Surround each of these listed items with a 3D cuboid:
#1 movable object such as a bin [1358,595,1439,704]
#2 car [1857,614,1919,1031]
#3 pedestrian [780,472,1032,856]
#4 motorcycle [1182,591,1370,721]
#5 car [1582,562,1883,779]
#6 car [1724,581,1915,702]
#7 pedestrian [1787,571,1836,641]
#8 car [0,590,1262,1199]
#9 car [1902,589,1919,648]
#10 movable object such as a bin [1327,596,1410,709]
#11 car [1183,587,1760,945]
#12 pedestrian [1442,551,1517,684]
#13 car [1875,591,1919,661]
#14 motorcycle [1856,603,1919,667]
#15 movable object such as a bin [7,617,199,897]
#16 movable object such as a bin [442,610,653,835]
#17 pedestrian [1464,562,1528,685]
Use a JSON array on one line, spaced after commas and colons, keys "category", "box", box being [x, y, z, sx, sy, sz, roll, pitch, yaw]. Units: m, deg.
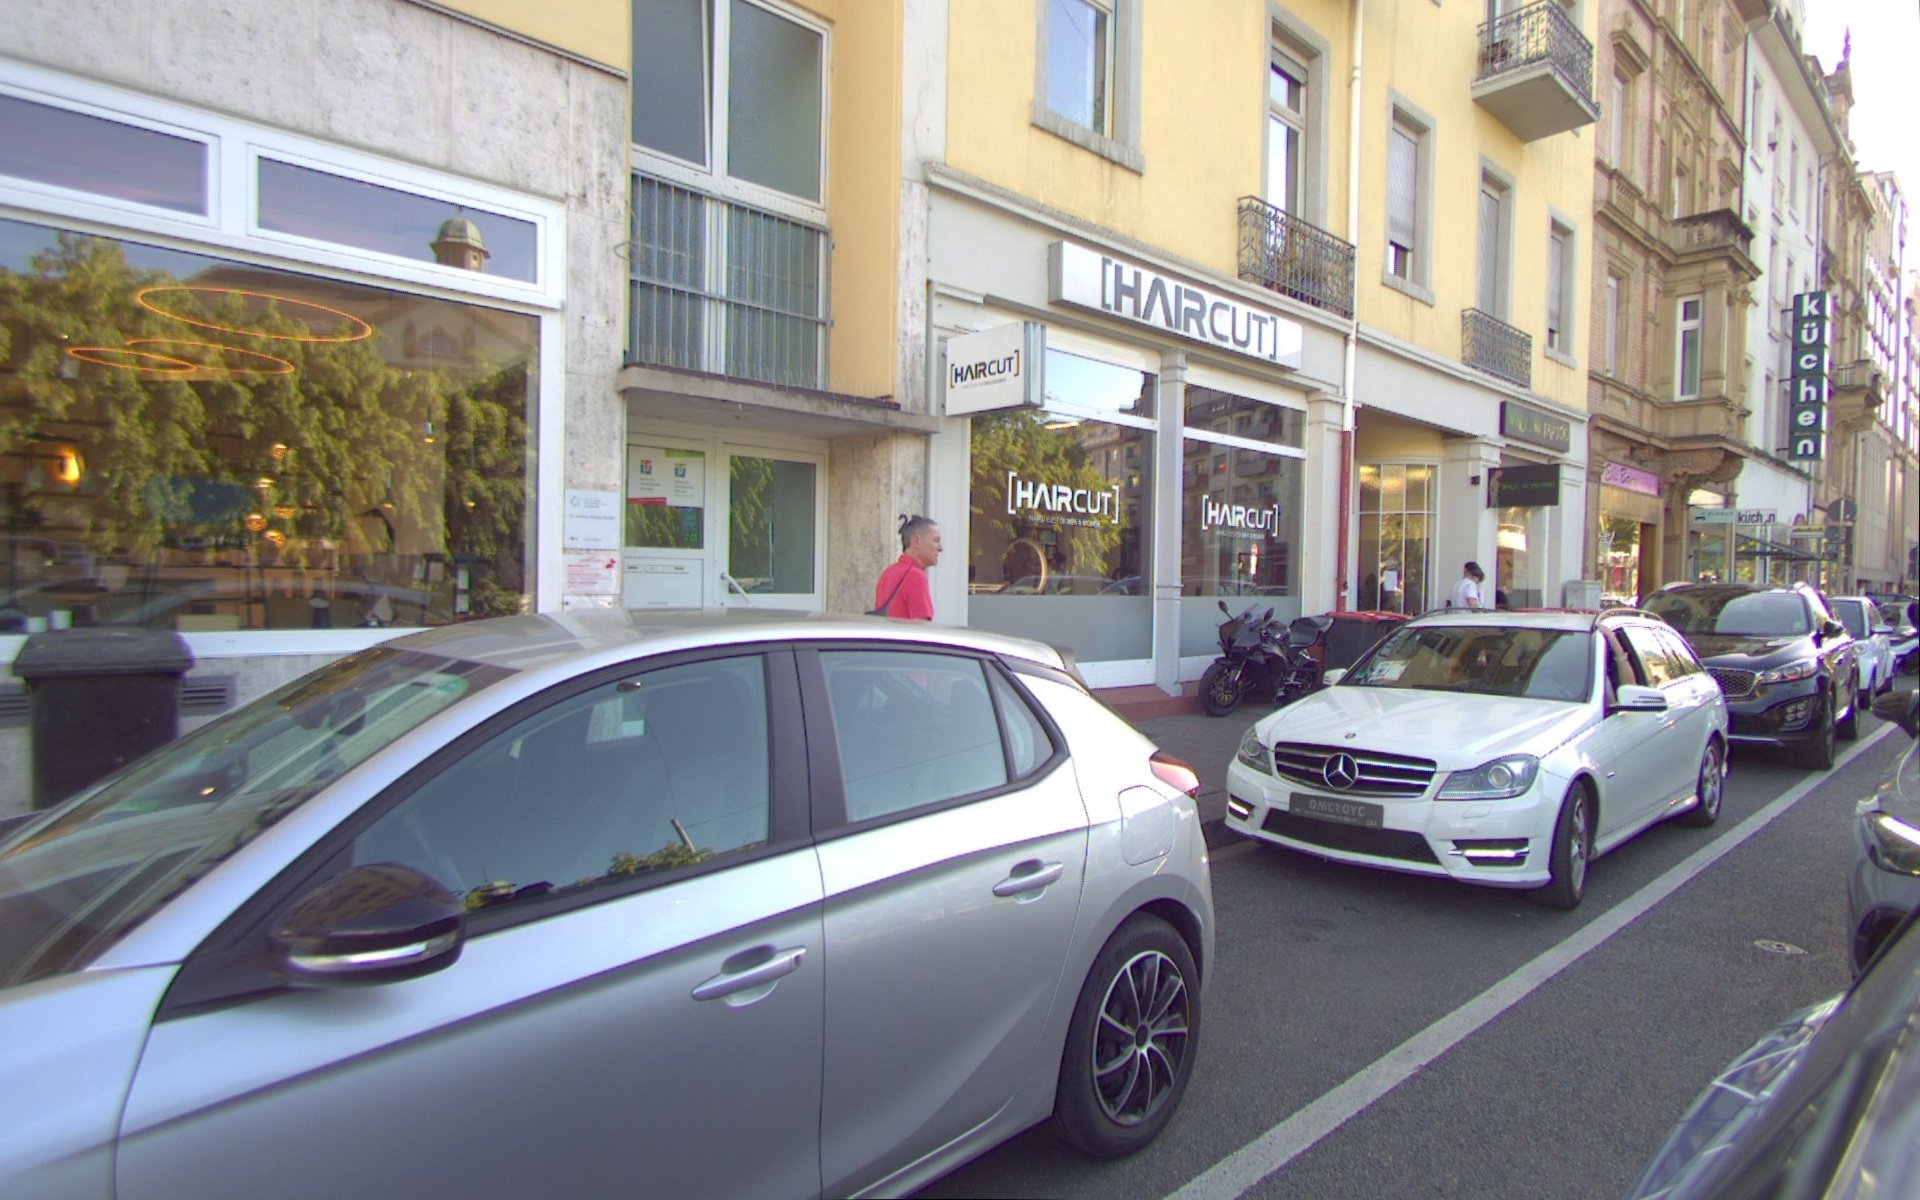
[{"category": "movable object such as a bin", "box": [5.151, 0.561, 11.893, 0.633, 1.222, 0.647, 0, 0, -40]}, {"category": "car", "box": [5.335, 0.776, 4.304, 4.183, 1.396, 1.846, 0, 1, -42]}, {"category": "pedestrian", "box": [-0.306, 0.276, 5.372, 0.989, 1.805, 0.868, 0, 3, -32]}, {"category": "motorcycle", "box": [3.326, 0.518, 10.530, 2.208, 1.179, 0.773, 0, 4, -41]}, {"category": "car", "box": [8.015, 0.531, 10.309, 1.853, 1.719, 4.623, 1, 1, 45]}, {"category": "car", "box": [12.665, 0.528, 14.877, 2.965, 1.587, 1.695, 0, 1, -40]}, {"category": "pedestrian", "box": [20.310, 0.124, 24.134, 0.750, 1.637, 0.794, 0, 1, -43]}, {"category": "car", "box": [-1.027, 0.696, 2.322, 3.642, 1.415, 1.652, 0, 1, -42]}, {"category": "car", "box": [26.406, 0.479, 26.864, 3.931, 1.504, 1.713, 0, 1, -42]}, {"category": "movable object such as a bin", "box": [4.641, 0.567, 11.504, 0.633, 1.222, 0.647, 0, 0, -40]}, {"category": "car", "box": [3.477, 0.674, 6.397, 4.519, 1.480, 1.757, 0, 1, -42]}, {"category": "pedestrian", "box": [6.652, 0.212, 12.966, 0.689, 1.637, 0.641, 0, 0, -42]}, {"category": "car", "box": [22.244, 0.565, 23.033, 3.931, 1.504, 1.713, 0, 1, -42]}, {"category": "motorcycle", "box": [19.293, 0.705, 20.522, 1.514, 1.248, 0.771, 1, 0, 1]}, {"category": "movable object such as a bin", "box": [-3.696, 0.612, 4.390, 0.591, 1.041, 0.812, 0, 1, -40]}, {"category": "movable object such as a bin", "box": [-2.257, 0.606, 5.533, 0.878, 1.066, 0.752, 0, 1, -40]}, {"category": "pedestrian", "box": [7.364, 0.308, 13.914, 0.631, 1.637, 0.572, 0, 0, -40]}]
